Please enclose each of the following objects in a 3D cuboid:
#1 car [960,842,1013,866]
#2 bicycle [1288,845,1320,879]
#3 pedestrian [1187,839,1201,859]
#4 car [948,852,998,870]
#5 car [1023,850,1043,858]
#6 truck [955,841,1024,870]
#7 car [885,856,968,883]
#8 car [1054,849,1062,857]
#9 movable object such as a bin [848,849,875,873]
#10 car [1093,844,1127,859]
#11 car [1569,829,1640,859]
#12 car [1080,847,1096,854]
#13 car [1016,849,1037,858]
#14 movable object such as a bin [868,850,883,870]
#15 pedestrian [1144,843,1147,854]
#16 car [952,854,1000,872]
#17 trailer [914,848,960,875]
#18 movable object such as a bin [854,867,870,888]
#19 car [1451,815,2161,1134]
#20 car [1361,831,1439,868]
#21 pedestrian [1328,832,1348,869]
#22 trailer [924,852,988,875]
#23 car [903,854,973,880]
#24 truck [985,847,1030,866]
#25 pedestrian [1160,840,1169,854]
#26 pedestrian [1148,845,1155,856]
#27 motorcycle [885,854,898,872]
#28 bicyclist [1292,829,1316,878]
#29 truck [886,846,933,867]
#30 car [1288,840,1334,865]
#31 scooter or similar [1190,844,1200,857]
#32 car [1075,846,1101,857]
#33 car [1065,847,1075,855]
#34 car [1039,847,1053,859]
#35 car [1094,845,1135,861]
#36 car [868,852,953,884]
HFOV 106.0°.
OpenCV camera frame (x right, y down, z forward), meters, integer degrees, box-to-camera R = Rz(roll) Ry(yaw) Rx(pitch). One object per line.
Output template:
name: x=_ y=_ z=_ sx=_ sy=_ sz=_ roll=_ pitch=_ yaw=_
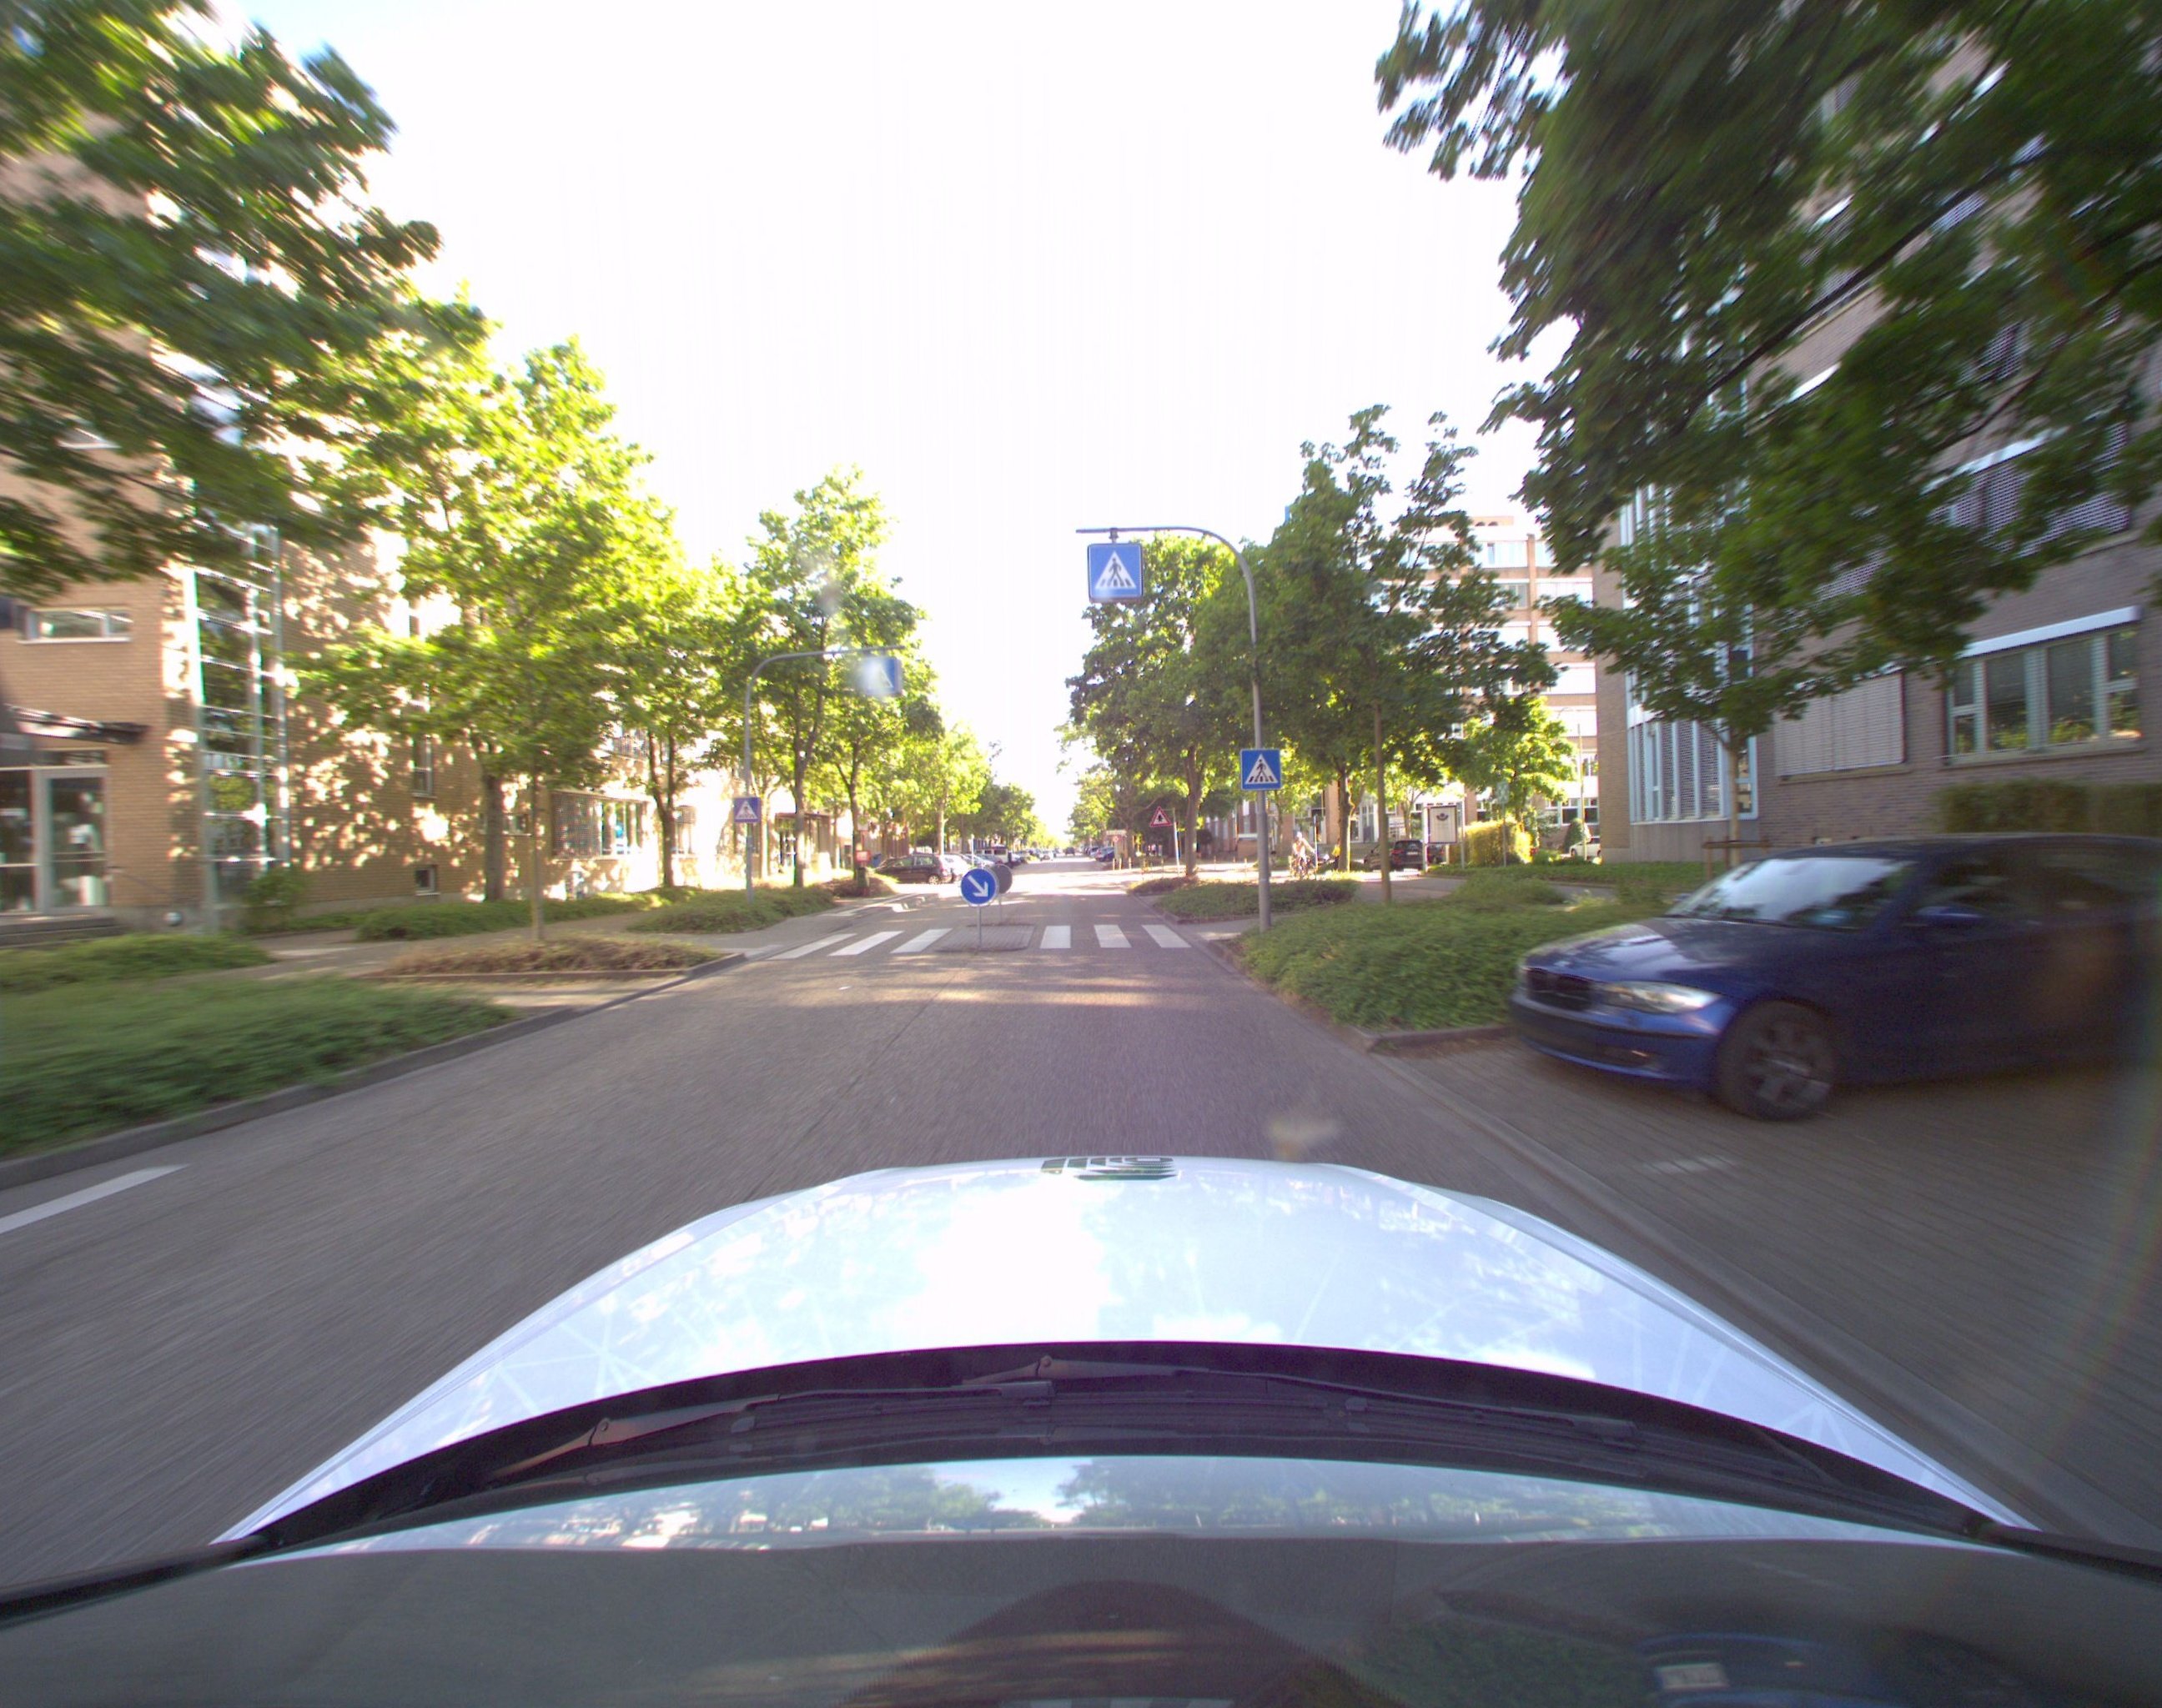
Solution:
car: x=-8.290 y=0.026 z=71.608 sx=4.472 sy=2.051 sz=1.998 roll=0 pitch=0 yaw=-3
bicycle: x=7.542 y=0.248 z=27.613 sx=0.532 sy=1.078 sz=1.919 roll=-2 pitch=0 yaw=0
pedestrian: x=10.487 y=-0.459 z=75.439 sx=0.919 sy=1.710 sz=0.694 roll=-5 pitch=1 yaw=-14
car: x=-8.736 y=0.559 z=66.107 sx=3.820 sy=1.461 sz=1.733 roll=-1 pitch=0 yaw=2
car: x=-9.807 y=-0.069 z=165.801 sx=3.883 sy=1.464 sz=1.857 roll=-2 pitch=0 yaw=-2
truck: x=-8.573 y=0.110 z=76.829 sx=6.213 sy=2.421 sz=2.186 roll=-3 pitch=0 yaw=-1
car: x=-8.325 y=0.826 z=44.039 sx=4.140 sy=1.402 sz=1.800 roll=0 pitch=0 yaw=-2
car: x=-5.734 y=-0.255 z=199.998 sx=1.888 sy=1.684 sz=4.348 roll=-2 pitch=0 yaw=-3
movable object such as a bin: x=-17.651 y=0.551 z=65.500 sx=1.593 sy=1.796 sz=1.664 roll=-2 pitch=0 yaw=1
car: x=3.903 y=-0.307 z=110.072 sx=4.394 sy=1.618 sz=1.910 roll=-5 pitch=1 yaw=-2
car: x=33.352 y=-0.676 z=52.035 sx=1.911 sy=1.723 sz=4.113 roll=-2 pitch=2 yaw=1
car: x=1.832 y=-0.890 z=211.747 sx=3.982 sy=1.792 sz=1.996 roll=-2 pitch=0 yaw=-6
car: x=-9.649 y=-0.018 z=144.457 sx=3.723 sy=1.464 sz=1.675 roll=-2 pitch=0 yaw=-2
movable object such as a bin: x=-17.784 y=0.509 z=70.440 sx=1.146 sy=1.619 sz=1.435 roll=-2 pitch=0 yaw=-13
pedestrian: x=8.486 y=-0.681 z=106.829 sx=0.380 sy=1.441 sz=0.433 roll=0 pitch=0 yaw=-4
car: x=-8.751 y=0.741 z=68.262 sx=3.766 sy=1.492 sz=1.833 roll=-1 pitch=0 yaw=0
trailer: x=-9.538 y=0.484 z=54.052 sx=2.717 sy=1.687 sz=1.712 roll=0 pitch=0 yaw=-1
movable object such as a bin: x=-7.806 y=0.836 z=29.063 sx=0.440 sy=0.731 sz=0.408 roll=0 pitch=0 yaw=-1
car: x=4.755 y=0.585 z=5.112 sx=4.108 sy=1.370 sz=1.652 roll=-4 pitch=0 yaw=-5
car: x=14.988 y=-0.148 z=38.554 sx=1.734 sy=1.566 sz=4.360 roll=-1 pitch=-2 yaw=-3
pedestrian: x=11.320 y=-0.146 z=35.891 sx=0.538 sy=1.582 sz=0.646 roll=-2 pitch=0 yaw=-11
trailer: x=-8.601 y=0.633 z=56.435 sx=4.253 sy=1.572 sz=1.853 roll=0 pitch=0 yaw=-5
car: x=-8.218 y=0.717 z=47.016 sx=3.744 sy=1.452 sz=1.753 roll=0 pitch=0 yaw=-2
truck: x=-8.636 y=0.253 z=96.154 sx=4.967 sy=1.959 sz=2.139 roll=-3 pitch=0 yaw=1
pedestrian: x=10.665 y=-0.921 z=103.812 sx=0.696 sy=1.710 sz=0.917 roll=-5 pitch=1 yaw=-12
pedestrian: x=9.274 y=-0.456 z=106.940 sx=0.699 sy=1.458 sz=0.714 roll=-3 pitch=0 yaw=-4
motorcycle: x=-17.544 y=0.830 z=75.535 sx=0.713 sy=1.591 sz=2.108 roll=-2 pitch=0 yaw=-2
bicyclist: x=7.535 y=-0.023 z=27.575 sx=0.535 sy=1.636 sz=0.822 roll=-2 pitch=0 yaw=0
truck: x=-24.696 y=0.307 z=117.519 sx=6.090 sy=2.704 sz=2.575 roll=-2 pitch=0 yaw=-3
car: x=14.380 y=-0.102 z=51.100 sx=1.647 sy=1.462 sz=3.916 roll=-2 pitch=1 yaw=-1
scooter or similar: x=11.292 y=-0.352 z=80.398 sx=0.548 sy=1.325 sz=1.802 roll=0 pitch=0 yaw=-6
car: x=1.173 y=-0.475 z=140.067 sx=4.259 sy=1.633 sz=1.856 roll=-3 pitch=0 yaw=-4
car: x=-2.250 y=-0.578 z=163.989 sx=1.928 sy=1.597 sz=4.364 roll=-2 pitch=0 yaw=-1
car: x=-4.681 y=-0.147 z=110.090 sx=1.774 sy=1.511 sz=3.998 roll=-2 pitch=0 yaw=-1
car: x=3.752 y=-0.119 z=91.276 sx=4.349 sy=1.597 sz=1.934 roll=-3 pitch=0 yaw=-8
car: x=-8.590 y=0.682 z=41.275 sx=3.976 sy=1.570 sz=1.727 roll=0 pitch=0 yaw=-2
